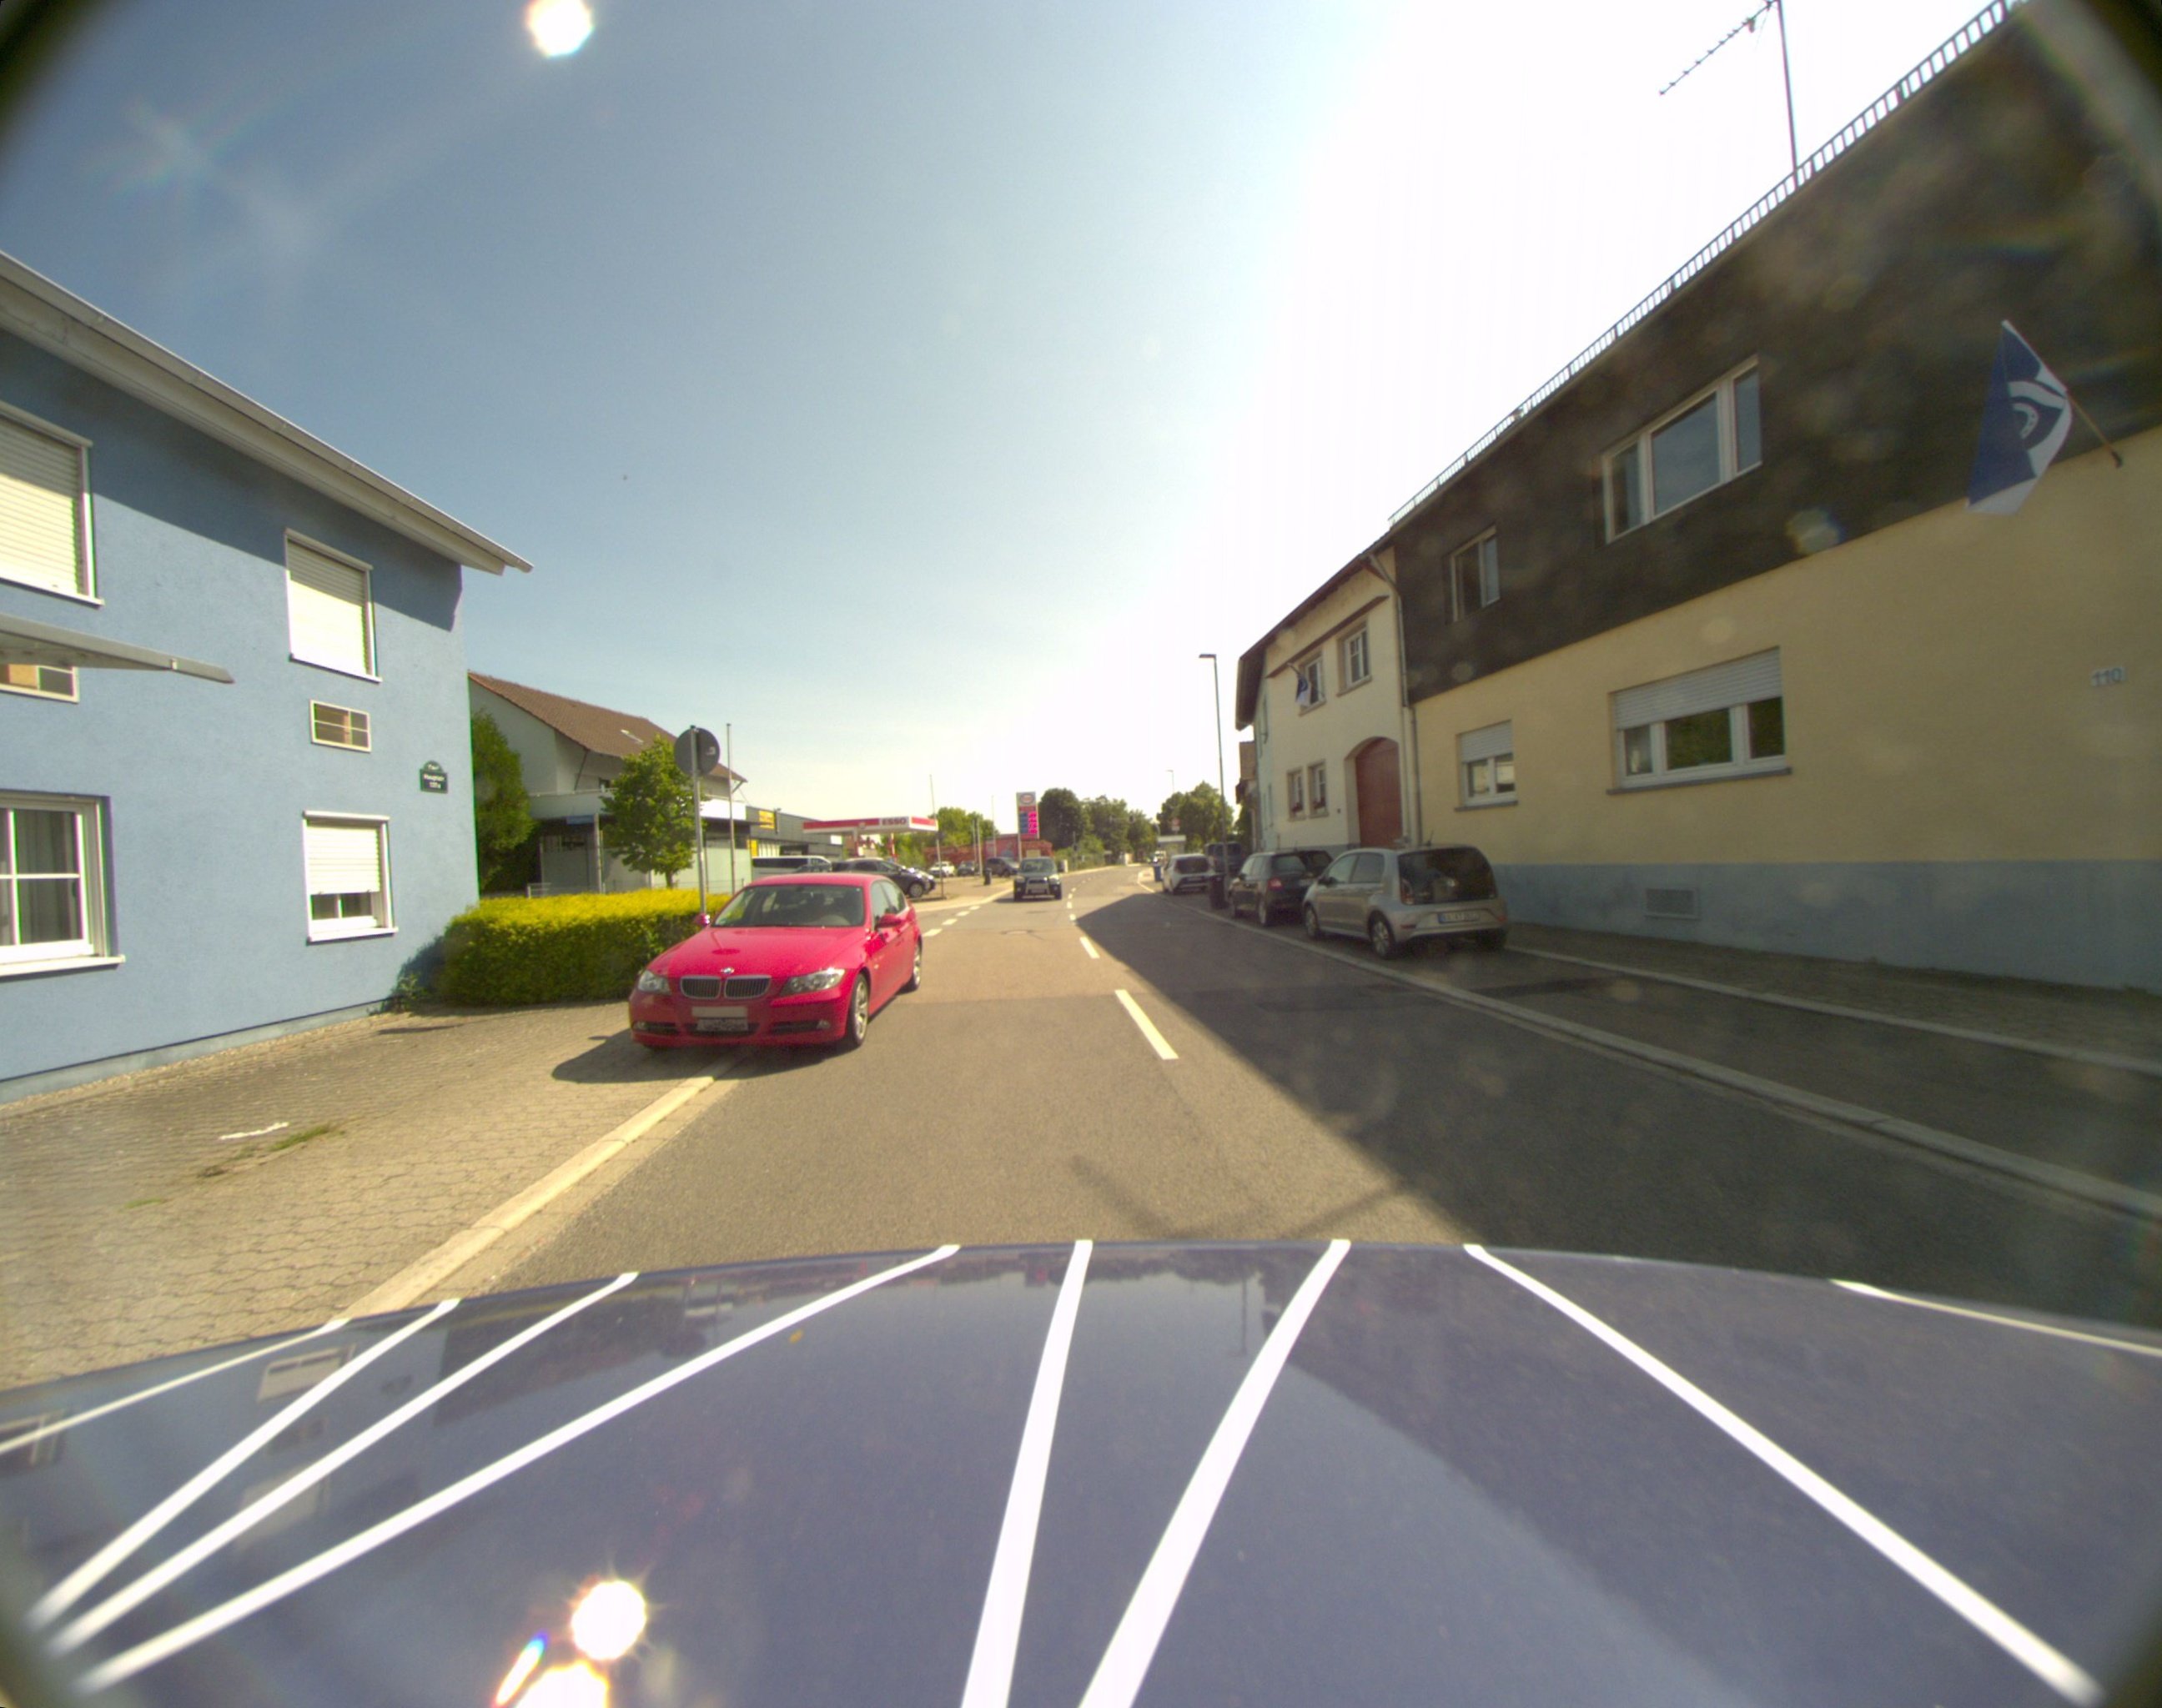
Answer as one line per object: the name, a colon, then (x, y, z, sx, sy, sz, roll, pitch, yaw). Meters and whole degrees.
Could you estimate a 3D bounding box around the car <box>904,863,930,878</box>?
car: (-17.415, 1.743, 80.690, 1.846, 1.379, 3.999, -2, 0, -1)

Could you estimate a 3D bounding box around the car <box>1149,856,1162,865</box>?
car: (14.366, 1.152, 146.378, 1.844, 1.583, 4.109, -2, 0, 12)

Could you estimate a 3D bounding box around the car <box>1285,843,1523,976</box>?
car: (4.477, 0.667, 11.201, 1.645, 1.492, 3.780, -5, 1, -3)

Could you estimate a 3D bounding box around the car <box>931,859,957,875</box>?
car: (-14.528, 1.386, 80.913, 2.004, 1.583, 4.338, -2, 0, -1)

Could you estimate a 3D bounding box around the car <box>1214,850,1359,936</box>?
car: (4.150, 0.712, 16.041, 1.683, 1.429, 3.994, -6, 1, -3)

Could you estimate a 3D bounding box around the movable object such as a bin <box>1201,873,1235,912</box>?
movable object such as a bin: (3.573, 1.005, 19.858, 0.553, 0.923, 0.825, -7, 1, -9)

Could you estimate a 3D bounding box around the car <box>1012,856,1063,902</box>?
car: (-1.654, 0.962, 30.121, 1.849, 1.686, 4.398, 0, -1, -2)

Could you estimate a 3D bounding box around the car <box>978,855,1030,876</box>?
car: (-6.183, 0.925, 60.521, 4.171, 1.546, 1.778, -2, 0, 44)

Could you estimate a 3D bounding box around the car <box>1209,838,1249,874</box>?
car: (8.352, 0.097, 42.655, 1.840, 1.782, 4.347, -5, 0, 14)

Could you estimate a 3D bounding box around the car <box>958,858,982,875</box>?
car: (-11.768, 1.301, 80.782, 1.846, 1.583, 4.105, -2, 0, -1)

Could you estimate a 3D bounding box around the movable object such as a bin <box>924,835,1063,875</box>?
movable object such as a bin: (-10.346, 0.131, 90.743, 16.086, 3.995, 2.774, -2, 0, 5)

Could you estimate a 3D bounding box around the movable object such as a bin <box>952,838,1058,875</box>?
movable object such as a bin: (-9.886, 0.318, 99.194, 13.282, 4.141, 2.864, -2, 0, 5)

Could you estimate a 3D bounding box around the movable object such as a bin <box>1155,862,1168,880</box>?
movable object such as a bin: (4.393, 0.944, 41.707, 0.559, 0.931, 0.514, -5, 1, -5)

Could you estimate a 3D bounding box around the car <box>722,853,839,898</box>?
car: (-15.100, 1.046, 38.443, 5.291, 2.002, 2.228, -2, 0, -21)

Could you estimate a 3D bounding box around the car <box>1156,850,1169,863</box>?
car: (16.958, 0.544, 157.941, 1.937, 2.488, 5.843, -2, 0, 12)

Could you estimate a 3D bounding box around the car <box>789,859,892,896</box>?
car: (-11.451, 1.086, 36.244, 4.324, 1.541, 1.980, -2, 0, -31)

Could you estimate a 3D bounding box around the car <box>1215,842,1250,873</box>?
car: (9.425, 0.193, 47.427, 1.971, 1.764, 4.280, -3, 1, 11)

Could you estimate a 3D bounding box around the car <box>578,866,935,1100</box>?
car: (-2.721, 0.956, 7.586, 1.737, 1.486, 4.353, -1, 1, -1)

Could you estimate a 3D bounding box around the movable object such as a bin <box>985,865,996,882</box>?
movable object such as a bin: (-5.214, 1.124, 43.905, 0.559, 0.931, 0.514, -2, 0, -5)

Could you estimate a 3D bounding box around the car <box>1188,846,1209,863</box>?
car: (11.109, 0.116, 71.938, 1.718, 1.444, 3.917, -4, -1, 7)

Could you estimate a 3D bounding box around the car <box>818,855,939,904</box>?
car: (-7.794, 0.934, 29.372, 4.120, 1.643, 1.827, -2, 0, -32)

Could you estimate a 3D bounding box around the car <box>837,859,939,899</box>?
car: (-8.171, 1.028, 32.204, 3.878, 1.438, 1.747, -2, 0, -27)

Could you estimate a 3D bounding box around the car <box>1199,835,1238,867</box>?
car: (10.106, -0.223, 56.315, 2.131, 1.975, 5.266, -7, 0, 5)

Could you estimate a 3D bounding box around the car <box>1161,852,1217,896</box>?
car: (4.032, 0.708, 28.914, 1.688, 1.453, 3.649, -3, 0, 2)
